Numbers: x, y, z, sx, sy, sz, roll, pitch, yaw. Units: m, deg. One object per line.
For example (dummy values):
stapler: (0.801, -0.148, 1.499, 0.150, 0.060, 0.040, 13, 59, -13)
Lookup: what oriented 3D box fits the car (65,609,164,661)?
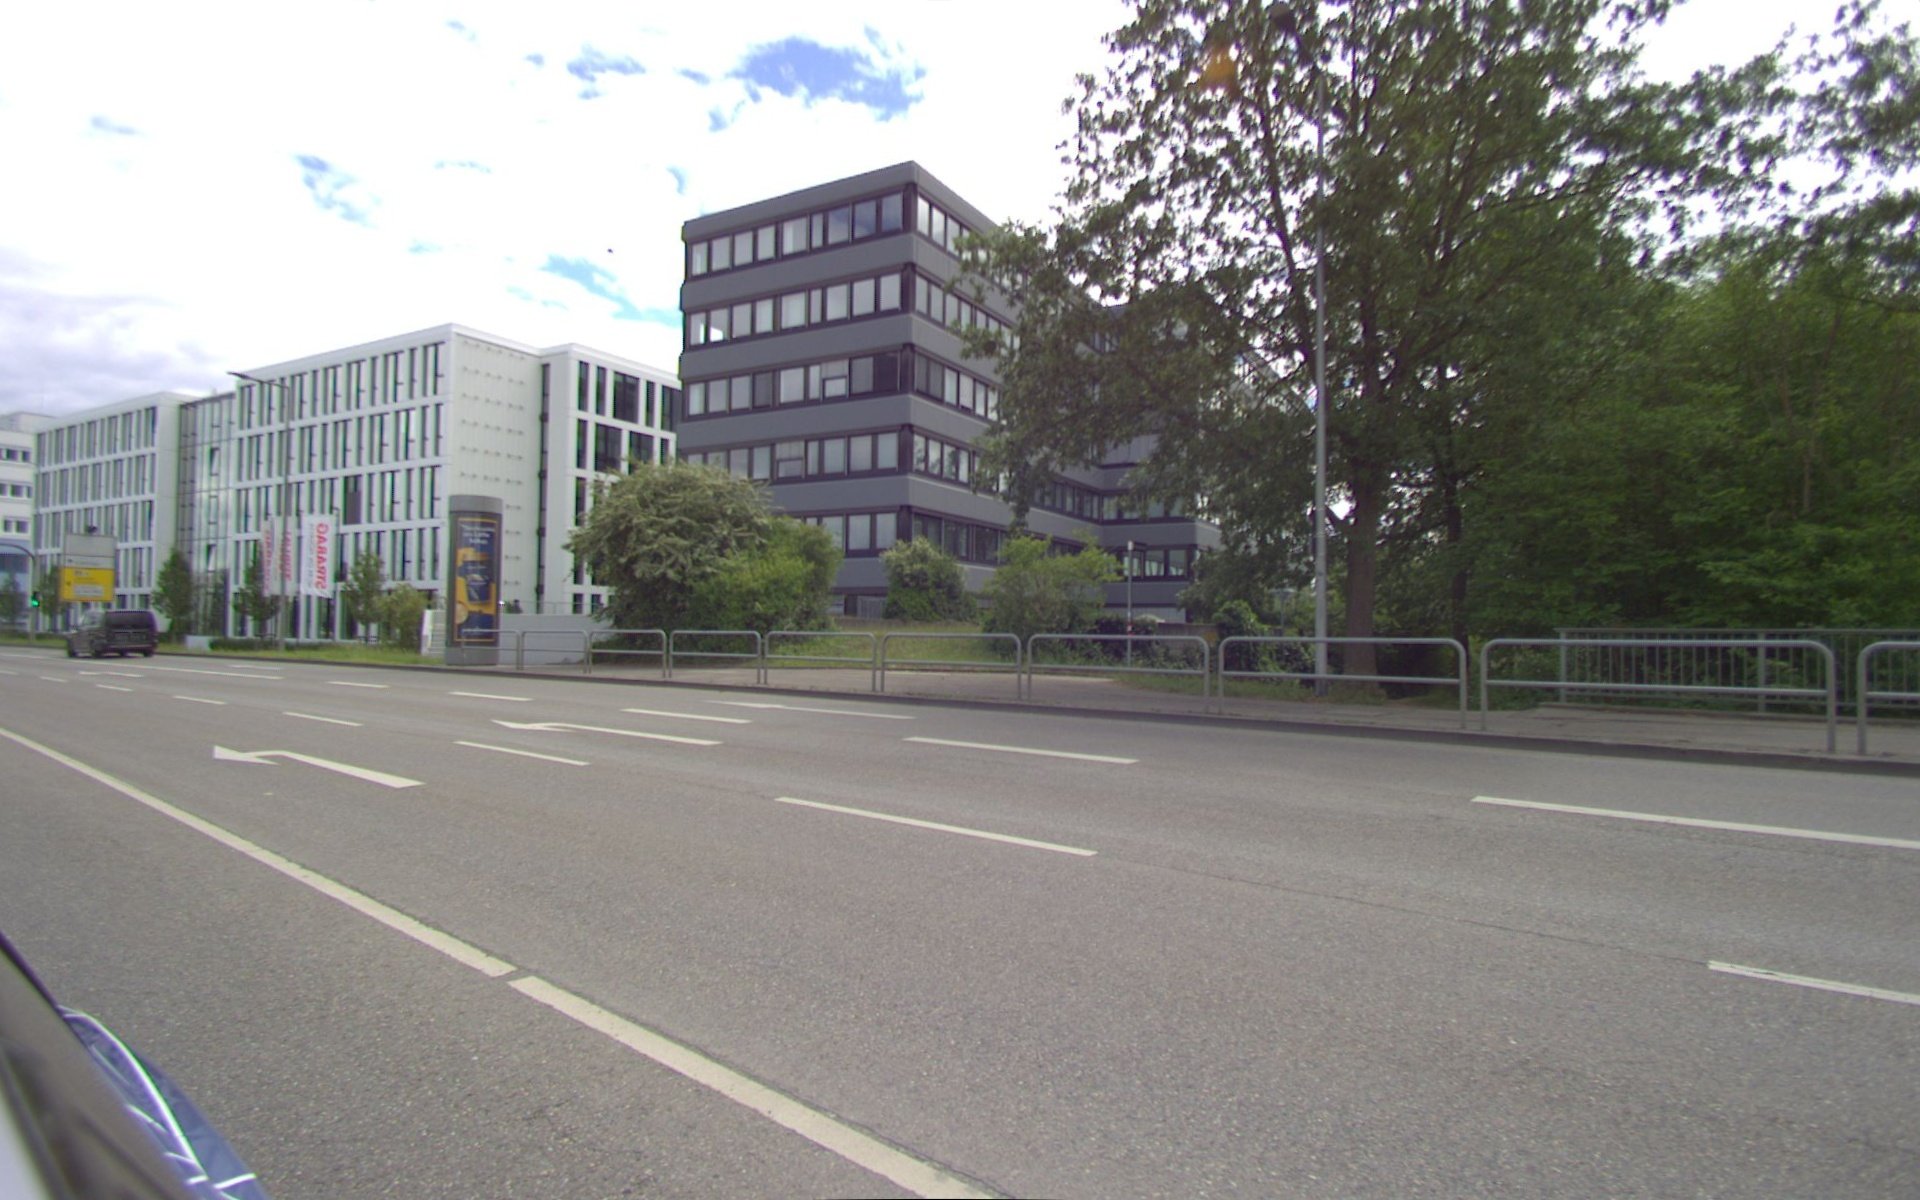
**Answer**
car: (-33.836, 1.388, 40.451, 5.358, 1.962, 1.999, -1, -2, 39)
